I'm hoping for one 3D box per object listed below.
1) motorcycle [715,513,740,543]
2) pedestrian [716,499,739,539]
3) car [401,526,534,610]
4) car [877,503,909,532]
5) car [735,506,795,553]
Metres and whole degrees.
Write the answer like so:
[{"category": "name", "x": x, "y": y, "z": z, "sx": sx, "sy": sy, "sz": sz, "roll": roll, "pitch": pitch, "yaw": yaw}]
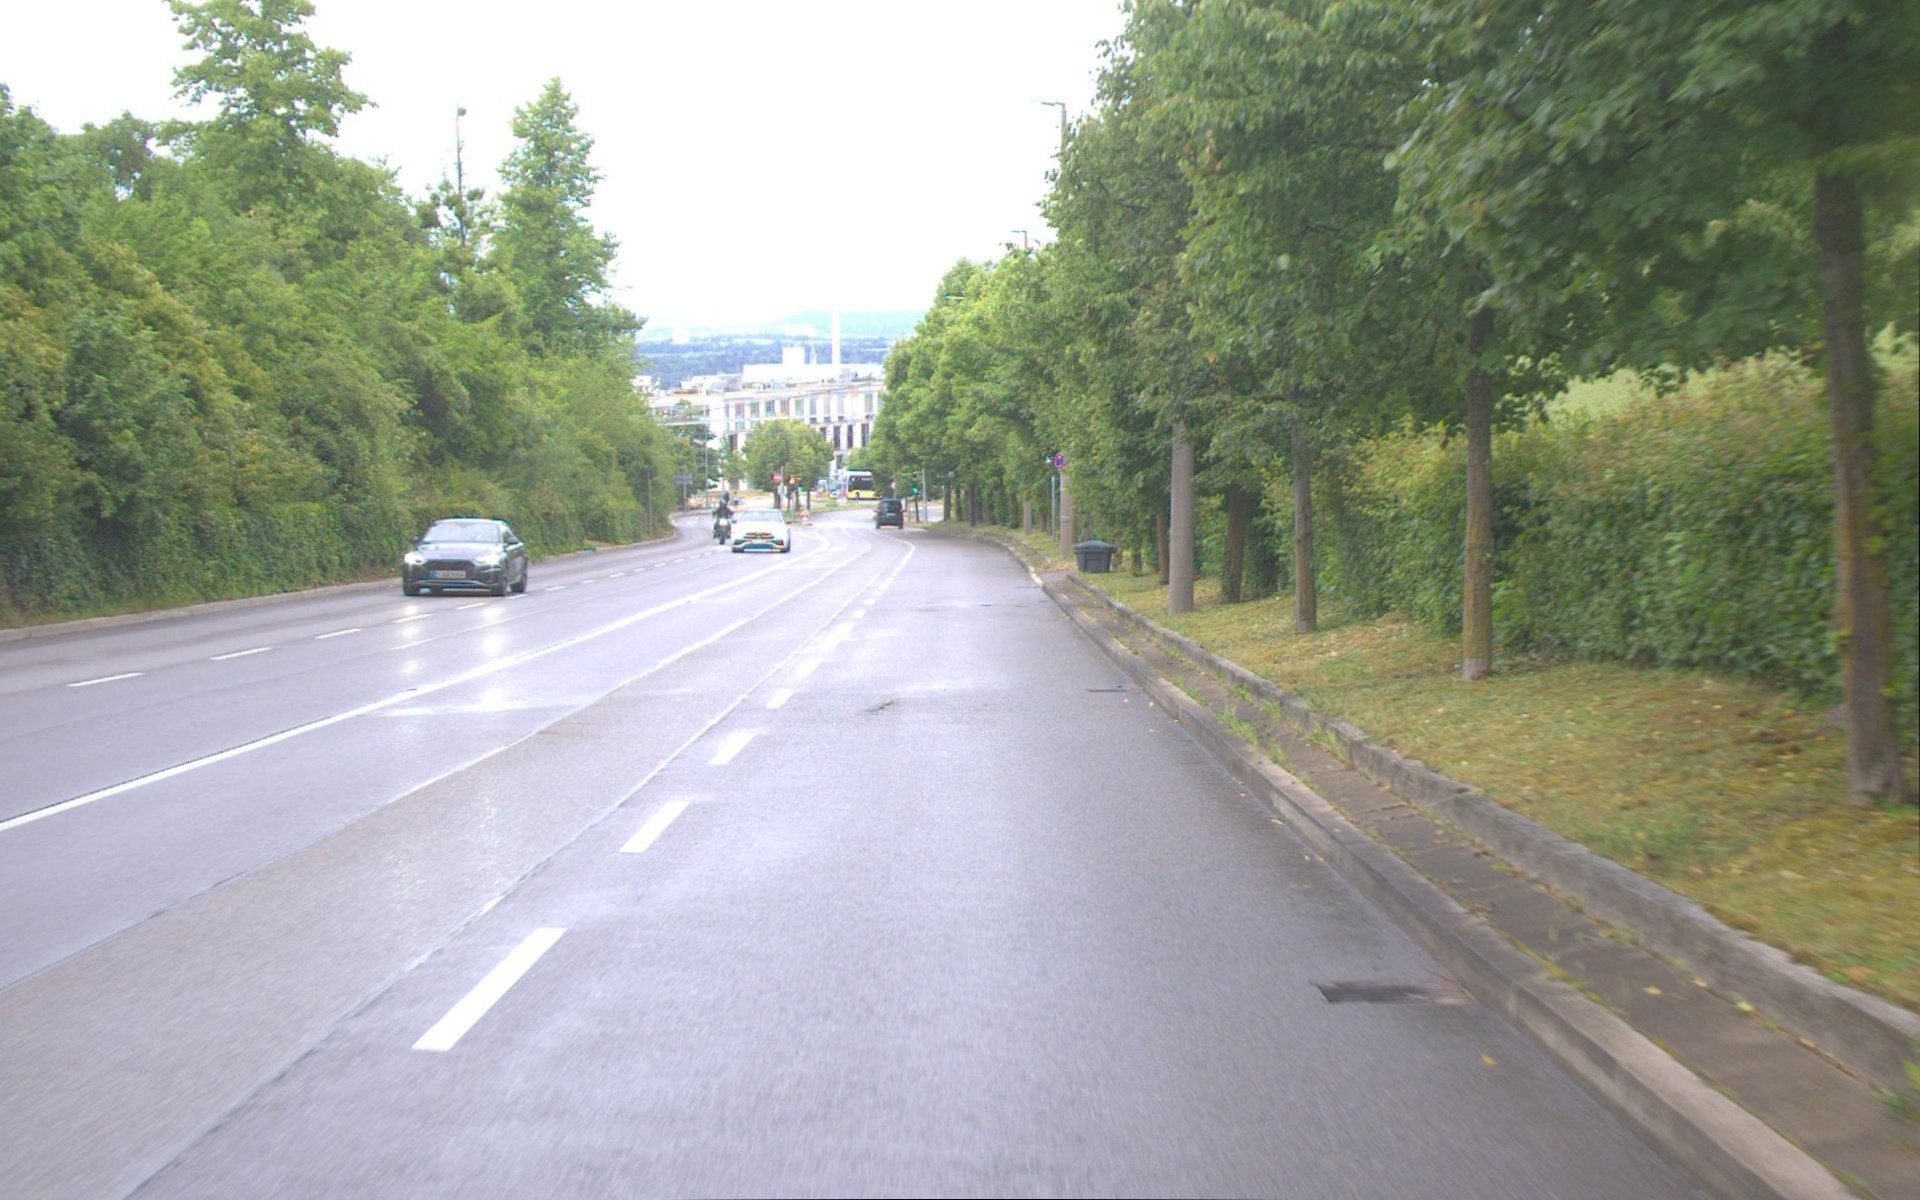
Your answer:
[{"category": "motorcycle", "x": -9.097, "y": -2.819, "z": 134.488, "sx": 0.805, "sy": 1.127, "sz": 2.231, "roll": 1, "pitch": 1, "yaw": 0}, {"category": "pedestrian", "x": -9.090, "y": -3.178, "z": 134.487, "sx": 0.805, "sy": 1.536, "sz": 1.111, "roll": 1, "pitch": 1, "yaw": 0}, {"category": "car", "x": -9.064, "y": -0.622, "z": 63.582, "sx": 1.759, "sy": 1.376, "sz": 4.838, "roll": 1, "pitch": 2, "yaw": 0}, {"category": "car", "x": -4.167, "y": -5.099, "z": 213.072, "sx": 1.849, "sy": 1.696, "sz": 3.793, "roll": 1, "pitch": 0, "yaw": -2}, {"category": "car", "x": -6.530, "y": -2.386, "z": 115.312, "sx": 1.715, "sy": 1.500, "sz": 4.517, "roll": 1, "pitch": 2, "yaw": 0}]
